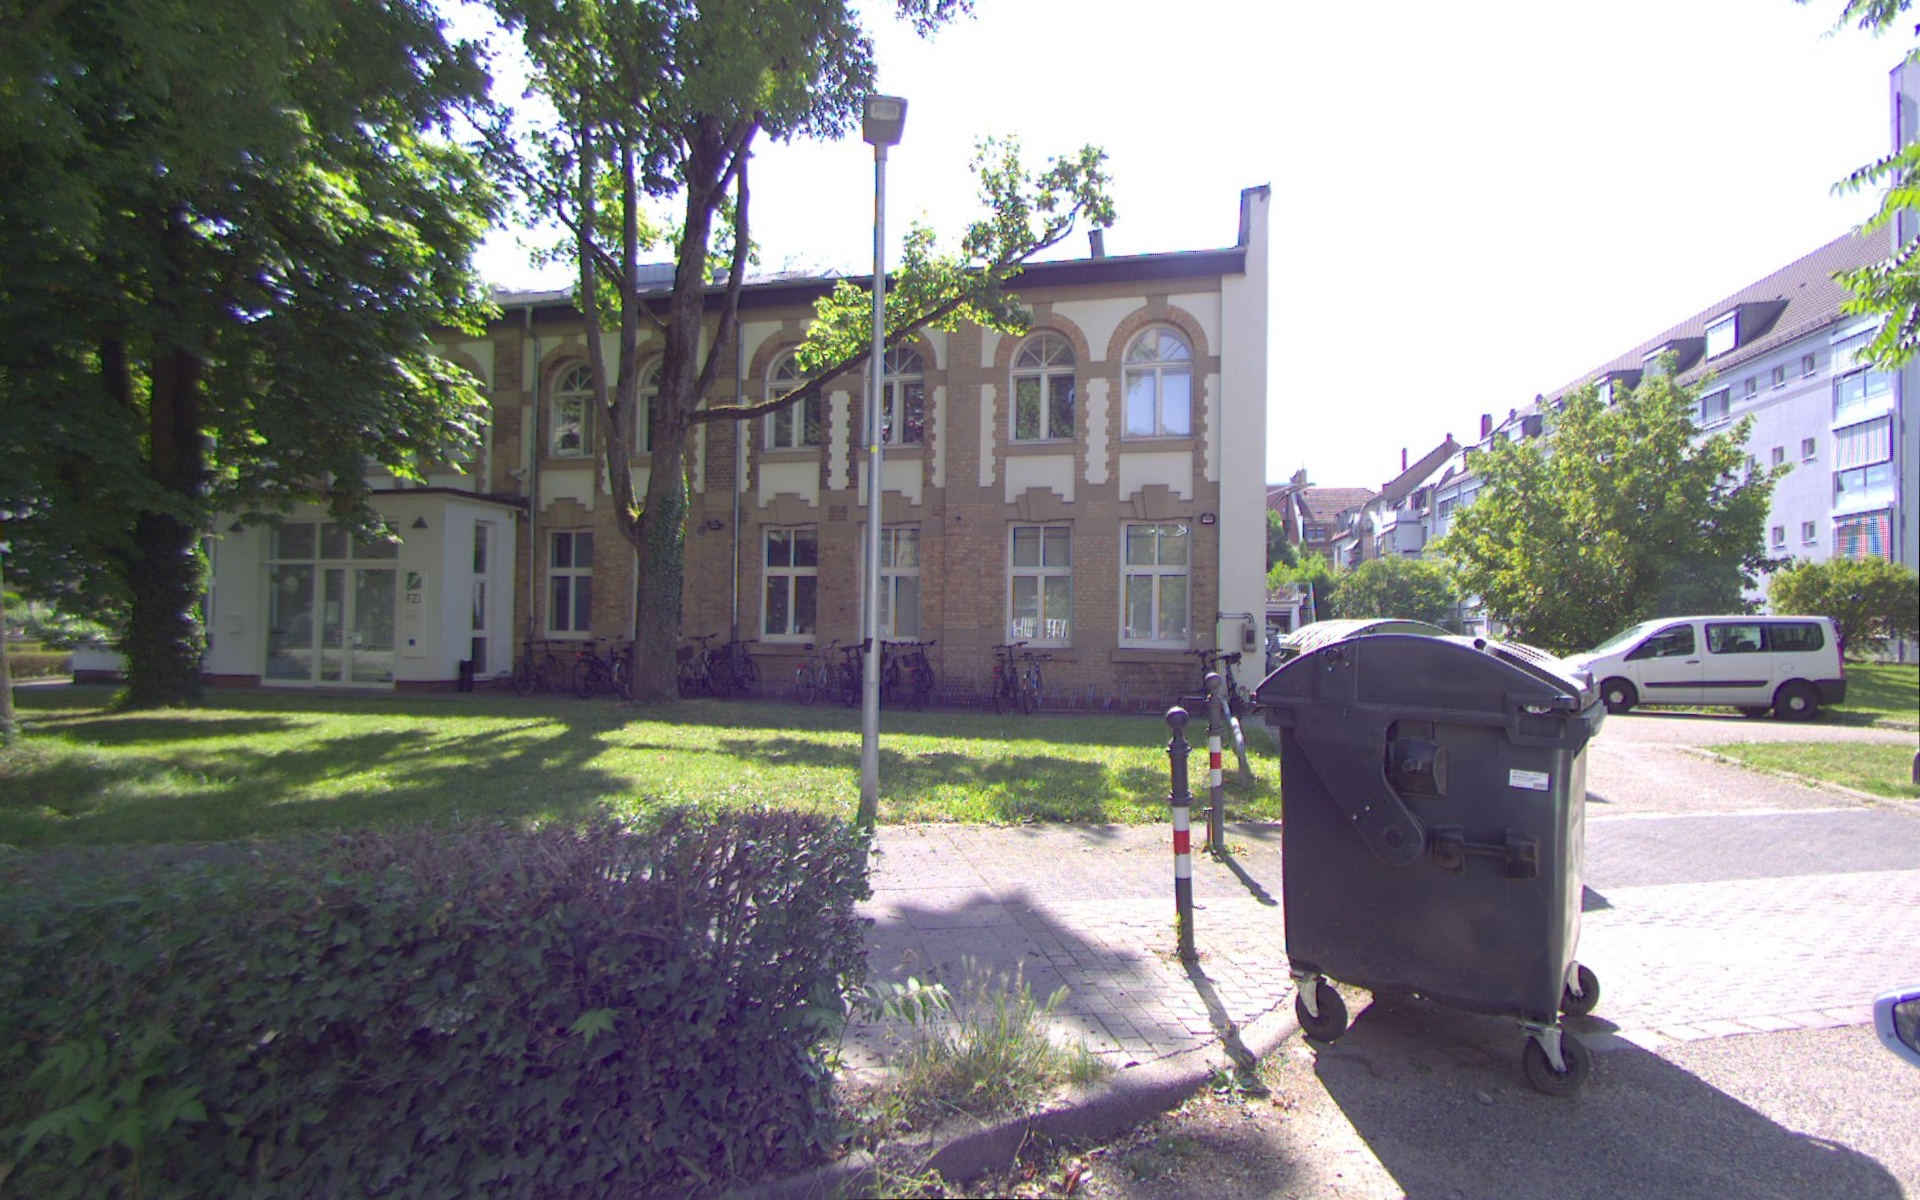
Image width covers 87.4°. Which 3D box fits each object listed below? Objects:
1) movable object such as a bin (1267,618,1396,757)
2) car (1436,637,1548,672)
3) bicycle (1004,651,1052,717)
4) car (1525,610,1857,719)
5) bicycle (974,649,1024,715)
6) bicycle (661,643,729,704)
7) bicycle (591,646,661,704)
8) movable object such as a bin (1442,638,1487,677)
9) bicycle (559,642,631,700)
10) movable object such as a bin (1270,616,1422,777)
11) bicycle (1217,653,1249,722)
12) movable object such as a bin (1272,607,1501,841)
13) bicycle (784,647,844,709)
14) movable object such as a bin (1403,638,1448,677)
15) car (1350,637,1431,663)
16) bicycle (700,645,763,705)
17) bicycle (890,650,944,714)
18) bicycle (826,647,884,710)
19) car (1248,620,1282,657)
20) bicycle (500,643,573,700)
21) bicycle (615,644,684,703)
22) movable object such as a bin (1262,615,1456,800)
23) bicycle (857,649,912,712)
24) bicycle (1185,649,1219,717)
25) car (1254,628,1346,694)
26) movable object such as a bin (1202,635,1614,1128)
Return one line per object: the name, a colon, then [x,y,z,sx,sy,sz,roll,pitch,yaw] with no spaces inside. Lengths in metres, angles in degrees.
movable object such as a bin: [4.167,0.949,11.398,1.223,1.450,1.351,0,-2,14]
car: [23.027,2.341,43.577,3.919,1.446,1.813,0,-2,12]
bicycle: [1.153,1.374,16.778,0.437,1.005,1.686,-1,-1,17]
car: [14.280,1.218,19.983,4.939,1.958,2.001,0,-2,16]
bicycle: [0.671,1.347,16.879,0.437,1.005,1.667,-1,-1,17]
bicycle: [-4.763,1.304,18.147,0.437,1.005,1.542,-1,-1,17]
bicycle: [-6.142,1.368,18.568,0.367,1.002,1.601,0,-2,17]
movable object such as a bin: [17.657,1.999,35.170,1.226,1.358,1.143,0,-2,17]
bicycle: [-6.754,1.293,18.657,0.437,1.005,1.542,-1,-1,17]
movable object such as a bin: [3.760,0.904,9.942,1.223,1.450,1.367,0,-2,14]
bicycle: [4.403,1.382,16.156,0.437,1.005,1.542,-1,-1,17]
movable object such as a bin: [2.995,0.826,7.252,1.223,1.501,1.340,0,-2,9]
bicycle: [-2.551,1.339,17.653,0.437,1.005,1.542,-1,-1,17]
movable object such as a bin: [16.469,2.056,35.601,1.226,1.336,1.143,-2,-4,16]
car: [26.219,3.052,61.322,4.157,1.552,2.001,-1,-1,11]
bicycle: [-4.096,1.323,18.083,0.437,1.005,1.542,-1,-1,15]
bicycle: [-0.721,1.378,17.275,0.437,1.005,1.542,-1,-1,17]
bicycle: [-1.818,1.350,17.553,0.437,1.005,1.542,-1,-1,17]
car: [22.875,2.937,75.455,2.137,2.641,6.739,-1,-3,14]
bicycle: [-7.994,1.334,19.026,0.437,1.005,1.542,1,-2,12]
bicycle: [-5.682,1.330,18.456,0.437,1.005,1.542,-1,-1,17]
movable object such as a bin: [3.360,0.871,8.611,1.223,1.450,1.224,0,-2,3]
bicycle: [-1.292,1.368,17.420,0.437,1.005,1.542,-1,-1,17]
bicycle: [3.927,1.309,16.222,0.437,1.005,1.631,-1,-1,17]
car: [8.657,1.576,25.906,1.805,1.460,4.434,2,-3,14]
movable object such as a bin: [1.749,0.850,3.847,1.227,1.415,1.401,0,-2,32]
